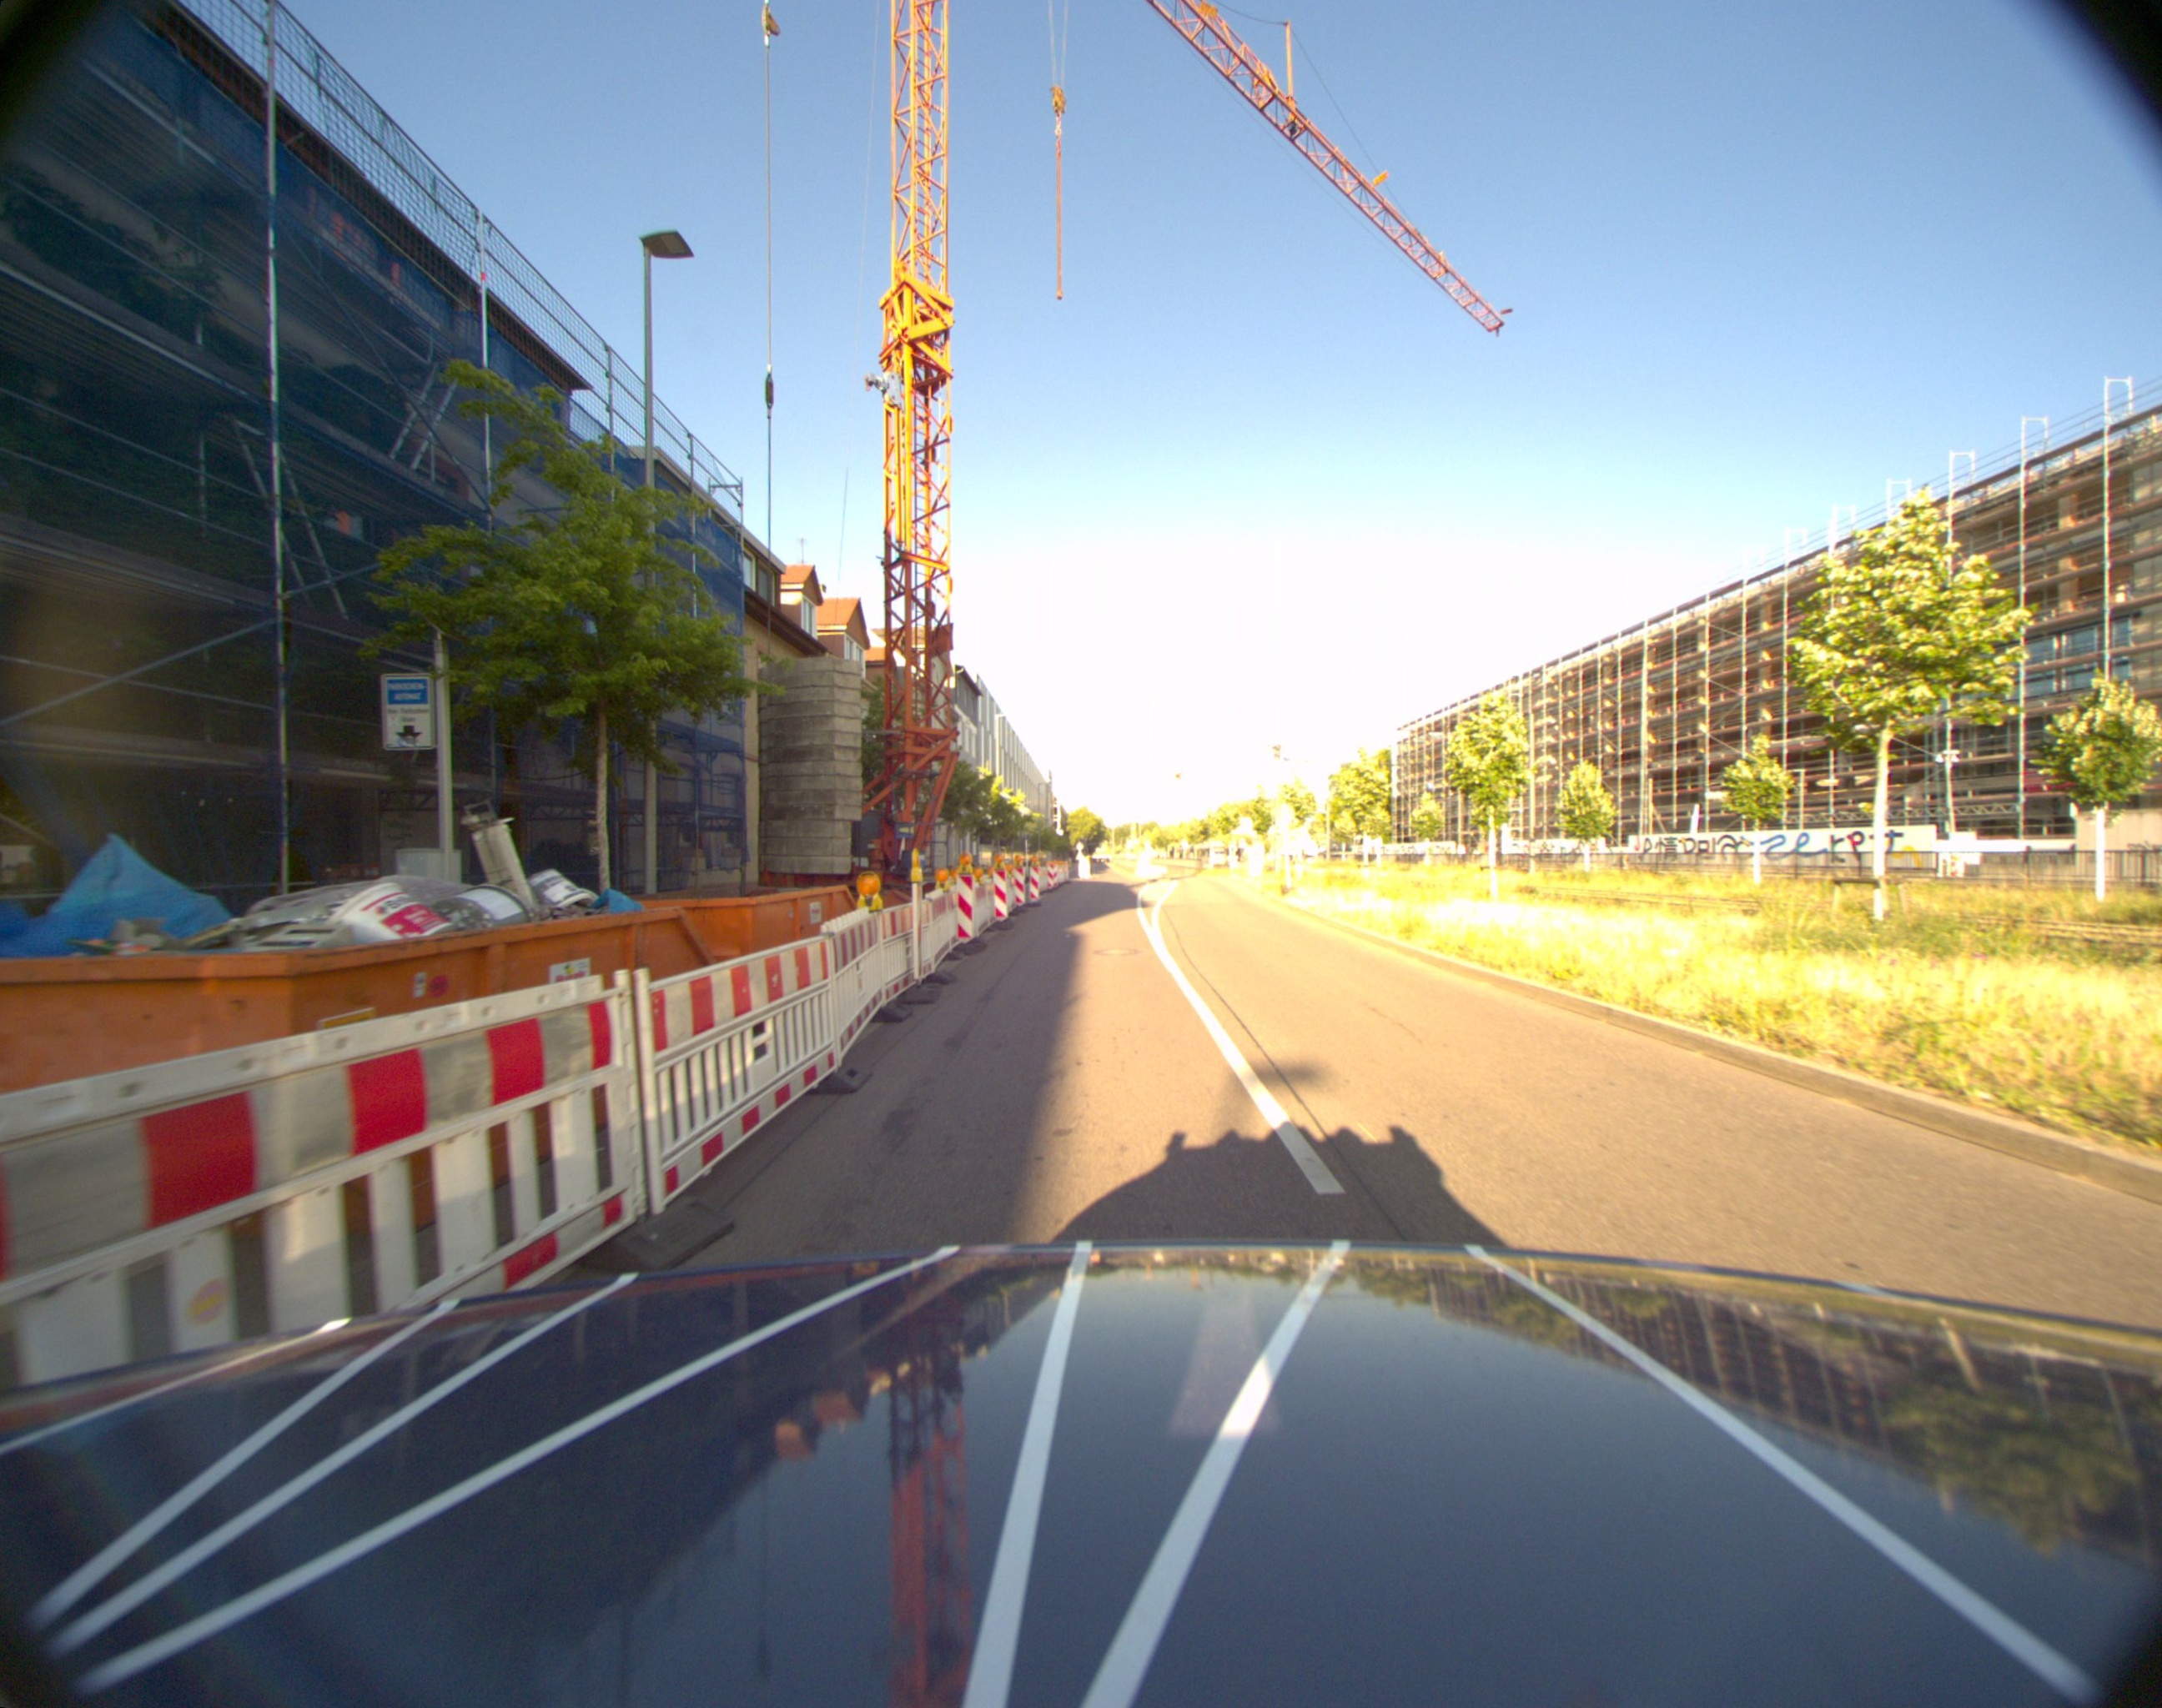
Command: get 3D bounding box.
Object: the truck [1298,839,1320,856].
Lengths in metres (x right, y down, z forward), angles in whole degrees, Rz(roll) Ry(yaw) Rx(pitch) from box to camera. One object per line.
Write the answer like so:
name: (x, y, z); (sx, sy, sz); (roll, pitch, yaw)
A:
truck: (35.062, -0.930, 117.061); (2.143, 2.559, 4.740); (0, 0, 3)

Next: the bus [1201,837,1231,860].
bus: (18.967, -0.751, 107.294); (2.724, 3.203, 8.656); (0, 0, 1)
